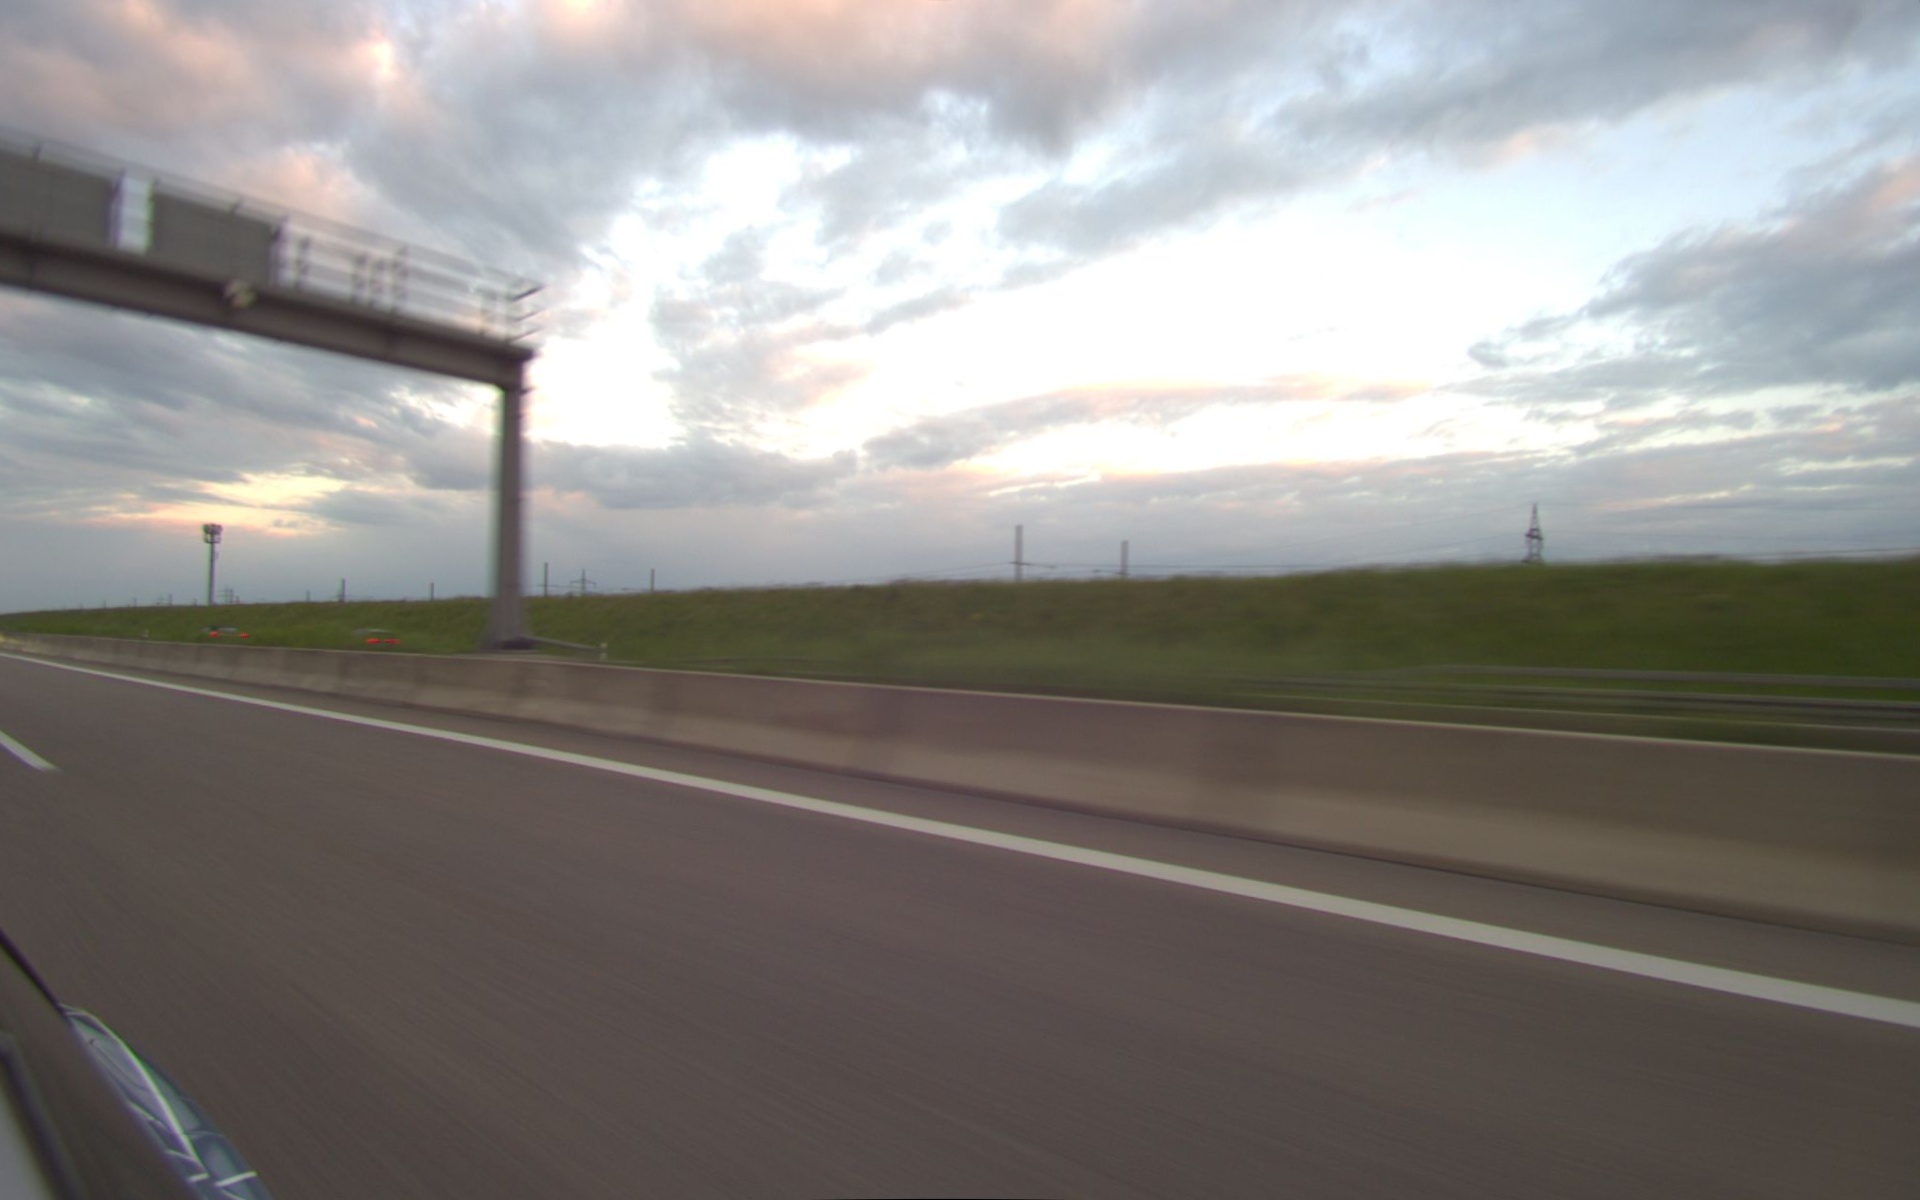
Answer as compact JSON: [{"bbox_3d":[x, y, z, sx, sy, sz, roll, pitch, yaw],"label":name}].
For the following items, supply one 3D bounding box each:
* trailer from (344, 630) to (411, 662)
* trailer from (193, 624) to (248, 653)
[{"bbox_3d":[-28.769,2.249,49.951,3.999,1.475,1.699,-1,-2,42],"label":"trailer"},{"bbox_3d":[-41.327,2.141,56.538,3.927,1.564,1.667,-1,-2,41],"label":"trailer"}]
